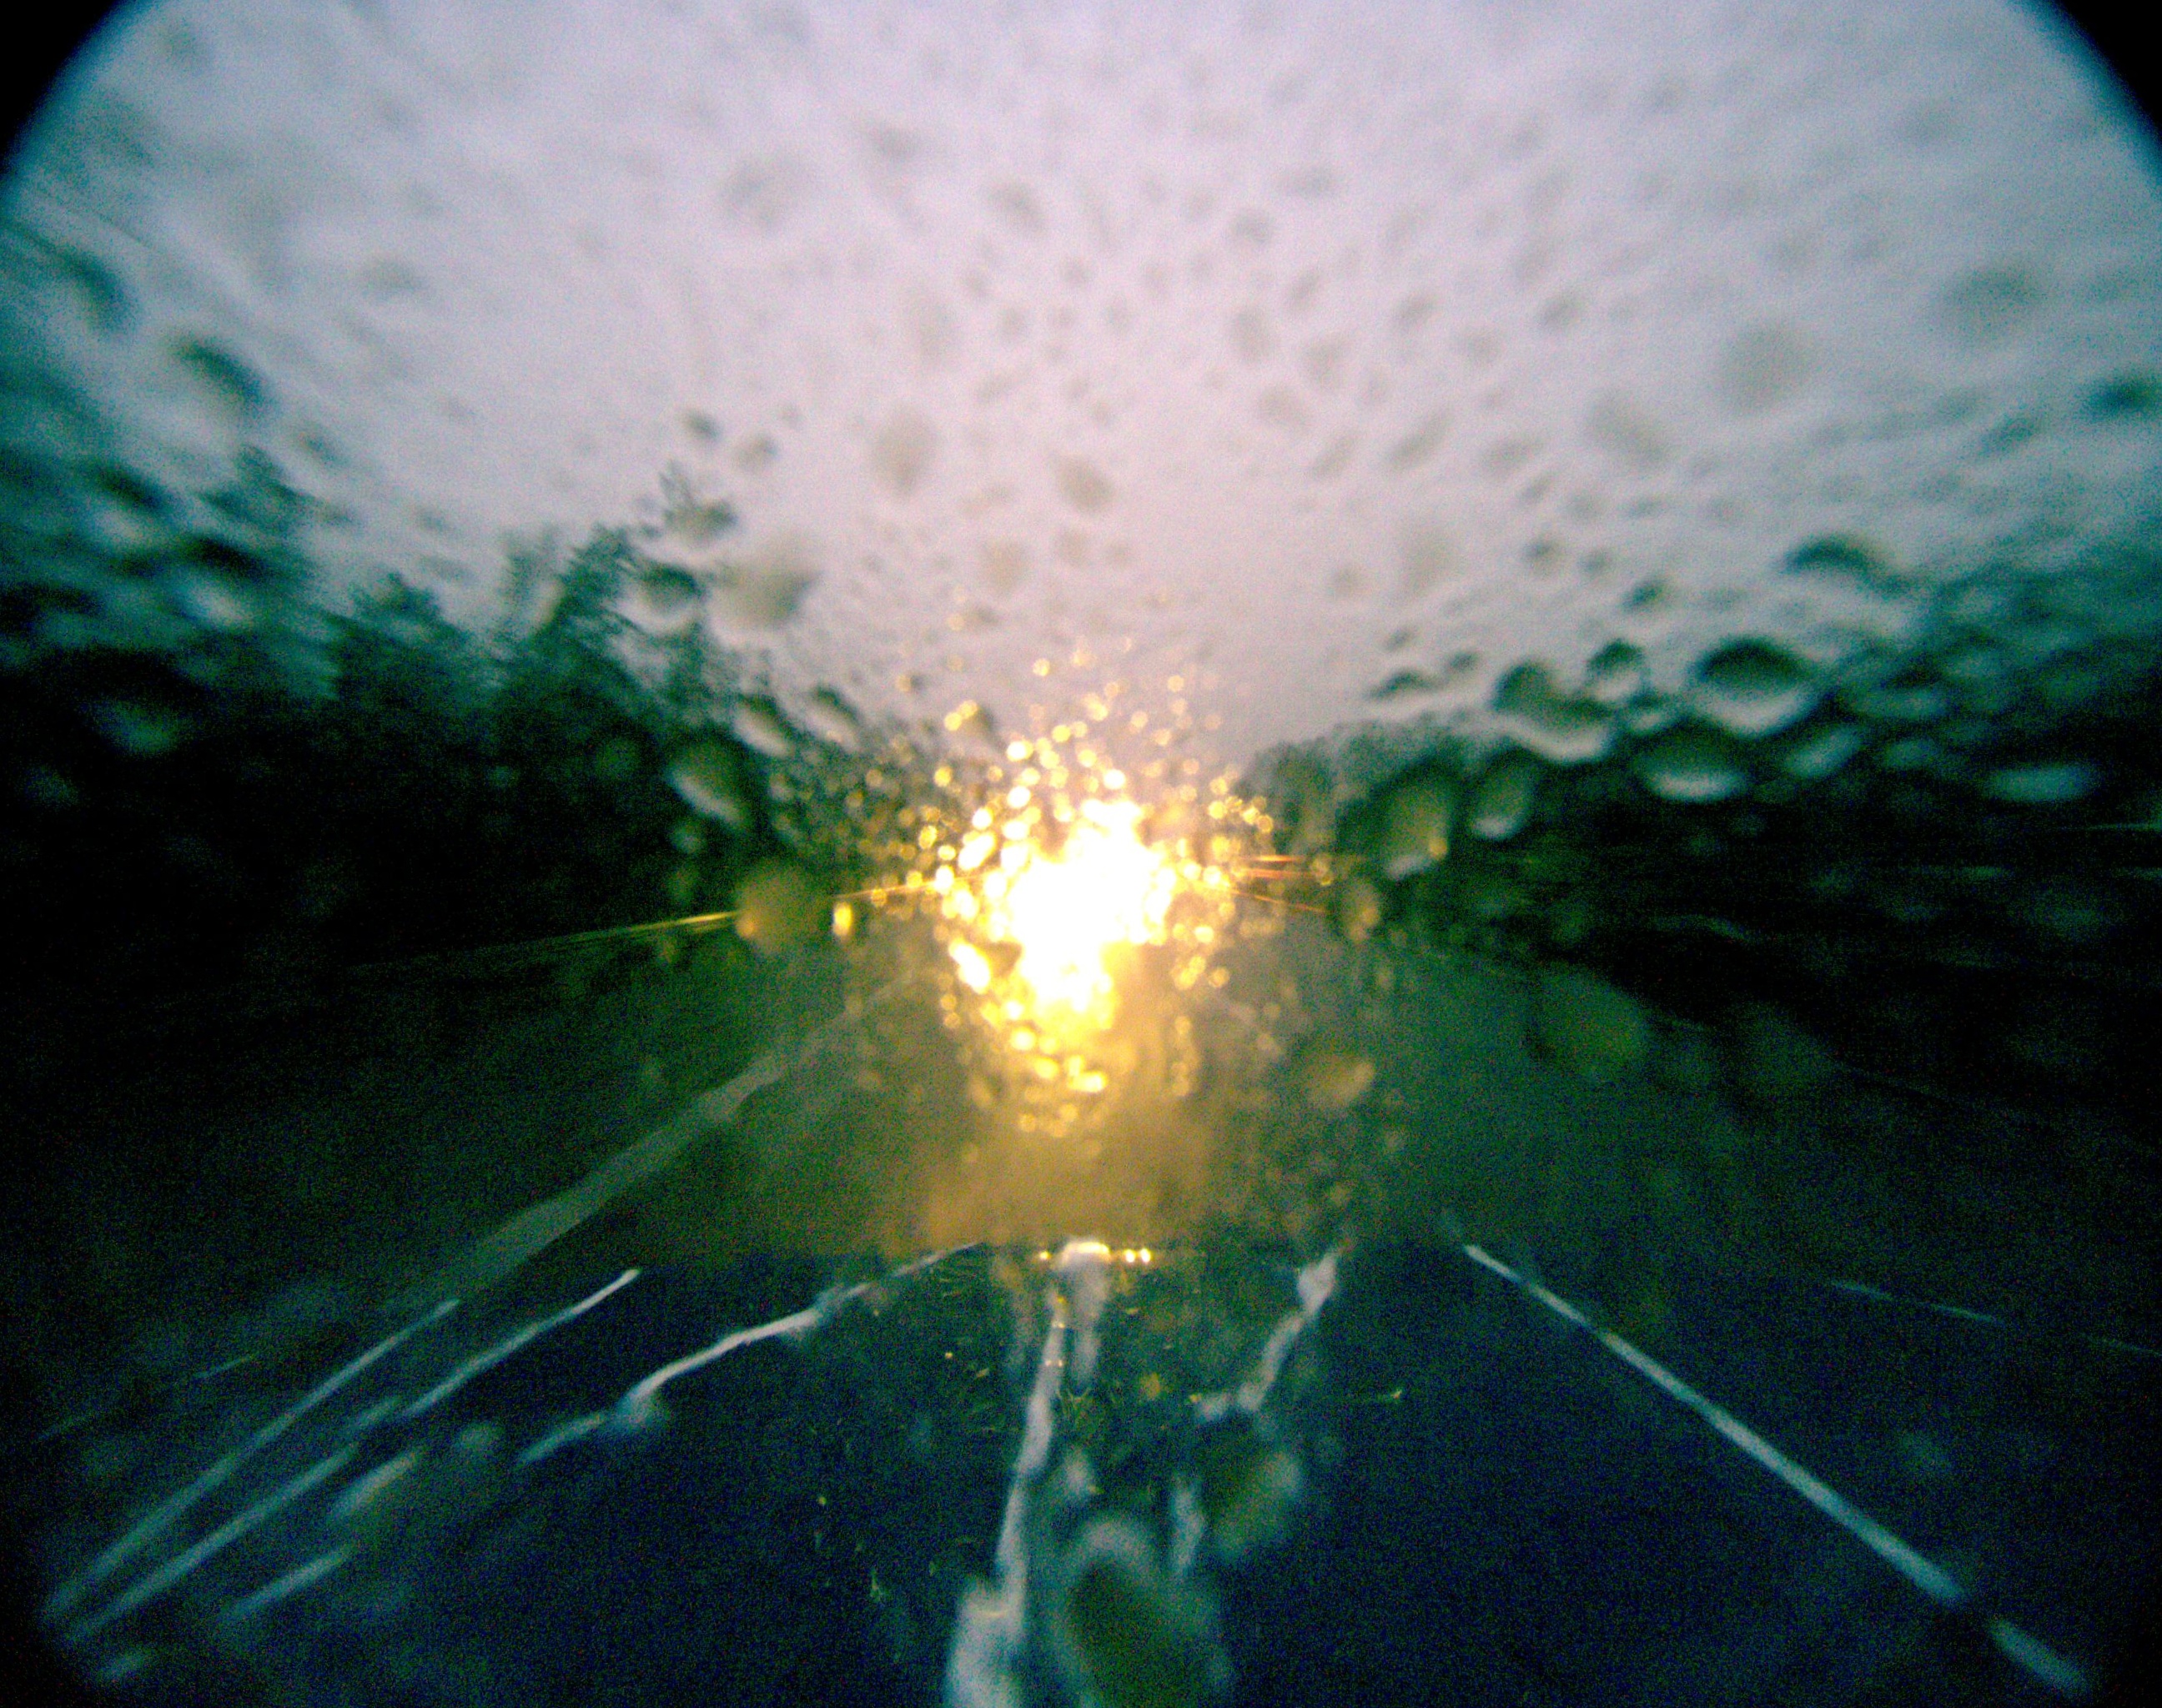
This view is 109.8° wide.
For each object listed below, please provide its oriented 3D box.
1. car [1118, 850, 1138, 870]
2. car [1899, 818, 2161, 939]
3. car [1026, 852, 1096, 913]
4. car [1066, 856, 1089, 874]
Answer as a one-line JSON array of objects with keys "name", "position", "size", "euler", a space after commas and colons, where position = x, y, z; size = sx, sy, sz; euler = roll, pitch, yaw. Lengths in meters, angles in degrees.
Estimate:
[{"name": "car", "position": [4.859, 0.609, 79.062], "size": [1.767, 1.922, 3.999], "euler": [-2, 0, 0]}, {"name": "car", "position": [15.118, 0.303, 10.625], "size": [1.999, 1.580, 4.958], "euler": [-1, 0, -1]}, {"name": "car", "position": [-0.583, 0.868, 25.244], "size": [1.929, 1.781, 3.941], "euler": [-2, 0, 3]}, {"name": "car", "position": [-0.270, 0.912, 63.402], "size": [1.602, 1.358, 3.306], "euler": [-3, 0, 5]}]
